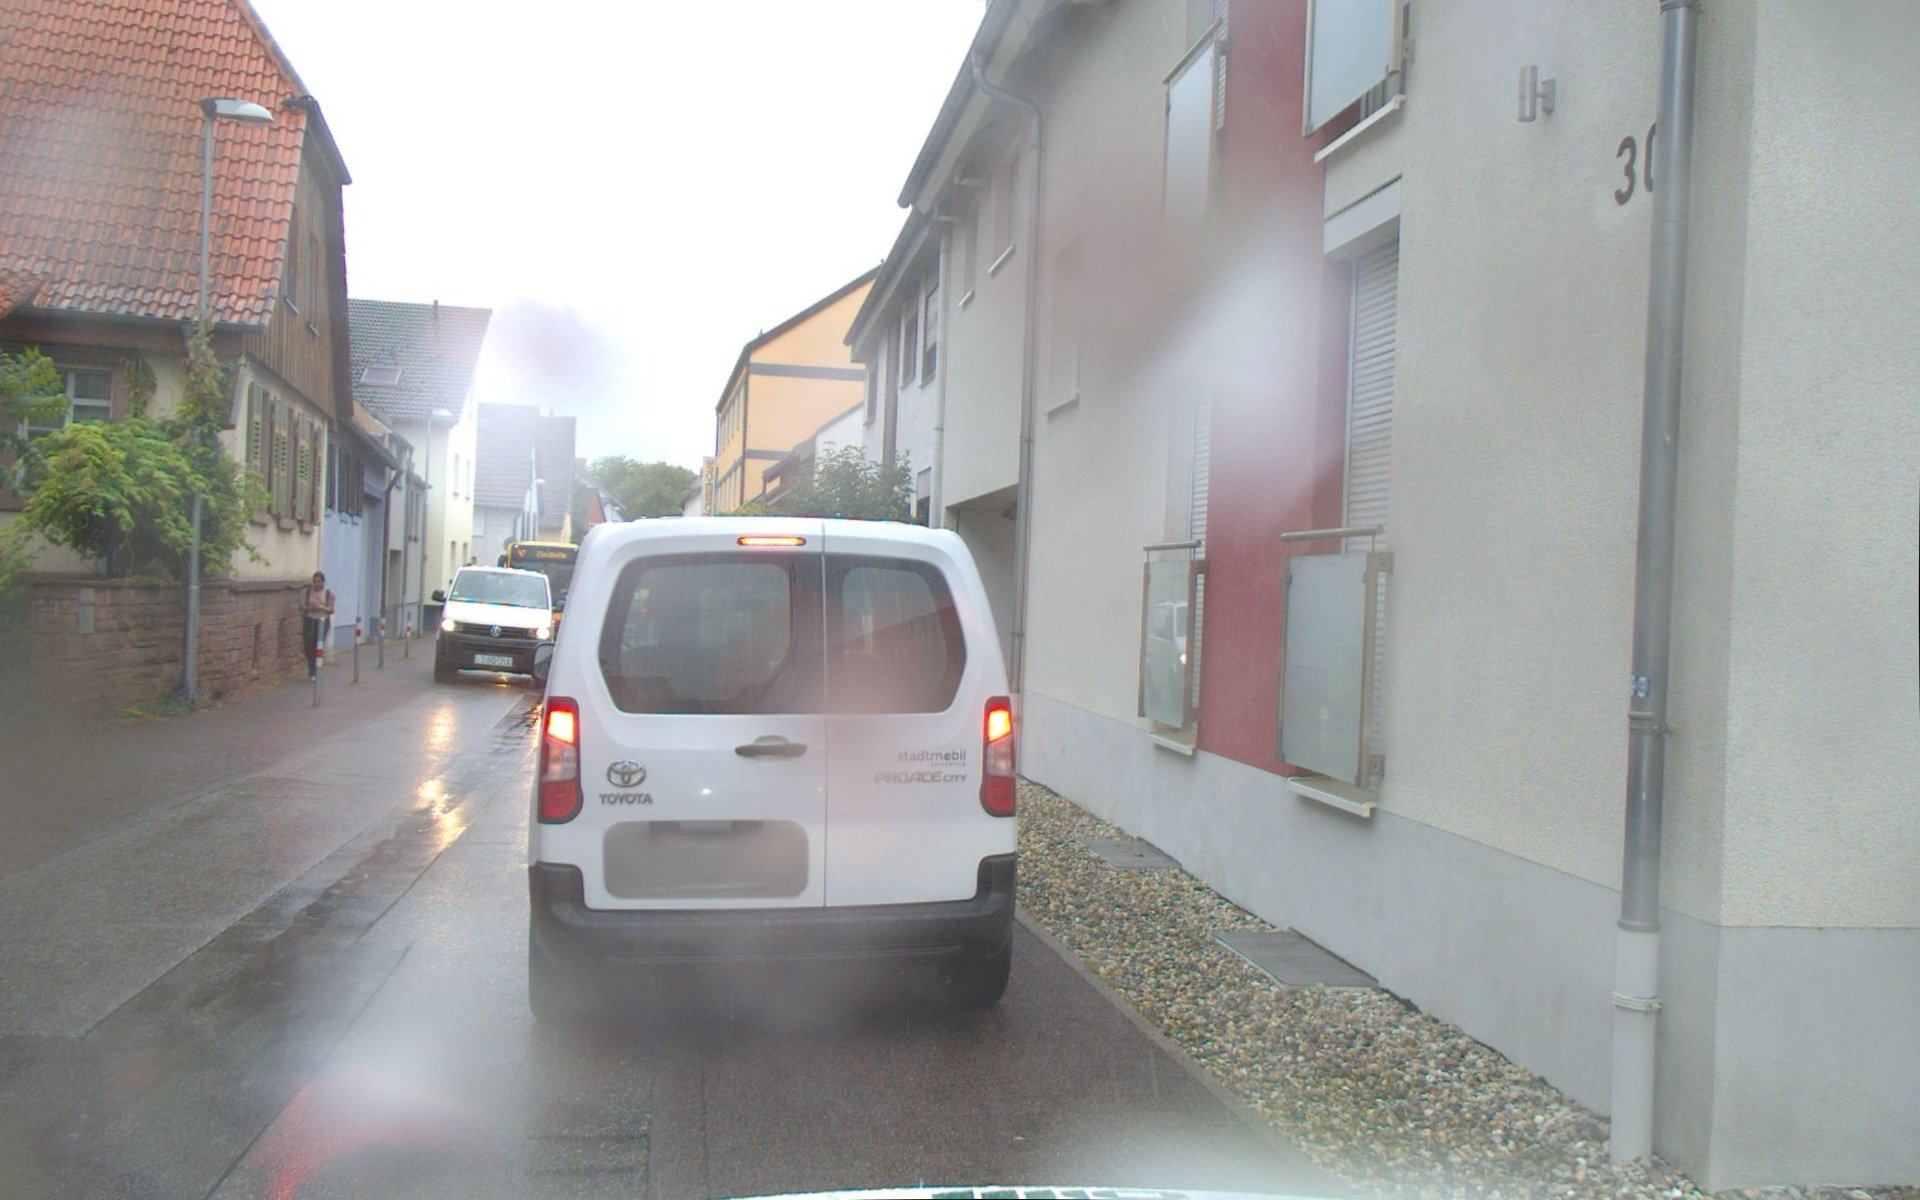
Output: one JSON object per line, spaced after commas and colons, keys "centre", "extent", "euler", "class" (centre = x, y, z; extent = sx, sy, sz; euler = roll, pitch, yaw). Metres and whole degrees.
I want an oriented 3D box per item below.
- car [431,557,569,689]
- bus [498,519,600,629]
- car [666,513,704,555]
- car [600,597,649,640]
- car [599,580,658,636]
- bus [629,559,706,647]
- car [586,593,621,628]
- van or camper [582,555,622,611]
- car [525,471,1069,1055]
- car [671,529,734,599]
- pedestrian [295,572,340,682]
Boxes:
{"centre": [-7.880, 0.390, 28.717], "extent": [1.859, 2.001, 4.709], "euler": [4, -1, -12], "class": "car"}
{"centre": [-14.100, -0.798, 57.273], "extent": [2.743, 3.387, 8.156], "euler": [3, -1, -11], "class": "bus"}
{"centre": [-15.407, -3.659, 92.731], "extent": [1.957, 2.049, 3.991], "euler": [4, -1, -9], "class": "car"}
{"centre": [-12.002, 0.658, 59.282], "extent": [1.533, 1.395, 3.576], "euler": [4, -1, -10], "class": "car"}
{"centre": [-9.657, 0.244, 48.368], "extent": [1.533, 1.506, 3.576], "euler": [4, -1, -10], "class": "car"}
{"centre": [-12.194, 0.137, 68.729], "extent": [2.743, 3.235, 8.156], "euler": [4, -1, -11], "class": "bus"}
{"centre": [-19.252, 0.573, 89.496], "extent": [1.550, 1.754, 3.543], "euler": [4, -1, -9], "class": "car"}
{"centre": [-20.444, -0.946, 94.641], "extent": [1.801, 2.976, 5.351], "euler": [3, -1, -9], "class": "van or camper"}
{"centre": [-0.883, 0.539, 7.433], "extent": [1.763, 1.850, 4.090], "euler": [1, -1, -11], "class": "car"}
{"centre": [-8.485, -1.142, 54.268], "extent": [1.794, 2.049, 3.684], "euler": [4, -1, -11], "class": "car"}
{"centre": [-9.241, 0.391, 23.808], "extent": [0.559, 1.557, 0.566], "euler": [1, -1, -20], "class": "pedestrian"}
